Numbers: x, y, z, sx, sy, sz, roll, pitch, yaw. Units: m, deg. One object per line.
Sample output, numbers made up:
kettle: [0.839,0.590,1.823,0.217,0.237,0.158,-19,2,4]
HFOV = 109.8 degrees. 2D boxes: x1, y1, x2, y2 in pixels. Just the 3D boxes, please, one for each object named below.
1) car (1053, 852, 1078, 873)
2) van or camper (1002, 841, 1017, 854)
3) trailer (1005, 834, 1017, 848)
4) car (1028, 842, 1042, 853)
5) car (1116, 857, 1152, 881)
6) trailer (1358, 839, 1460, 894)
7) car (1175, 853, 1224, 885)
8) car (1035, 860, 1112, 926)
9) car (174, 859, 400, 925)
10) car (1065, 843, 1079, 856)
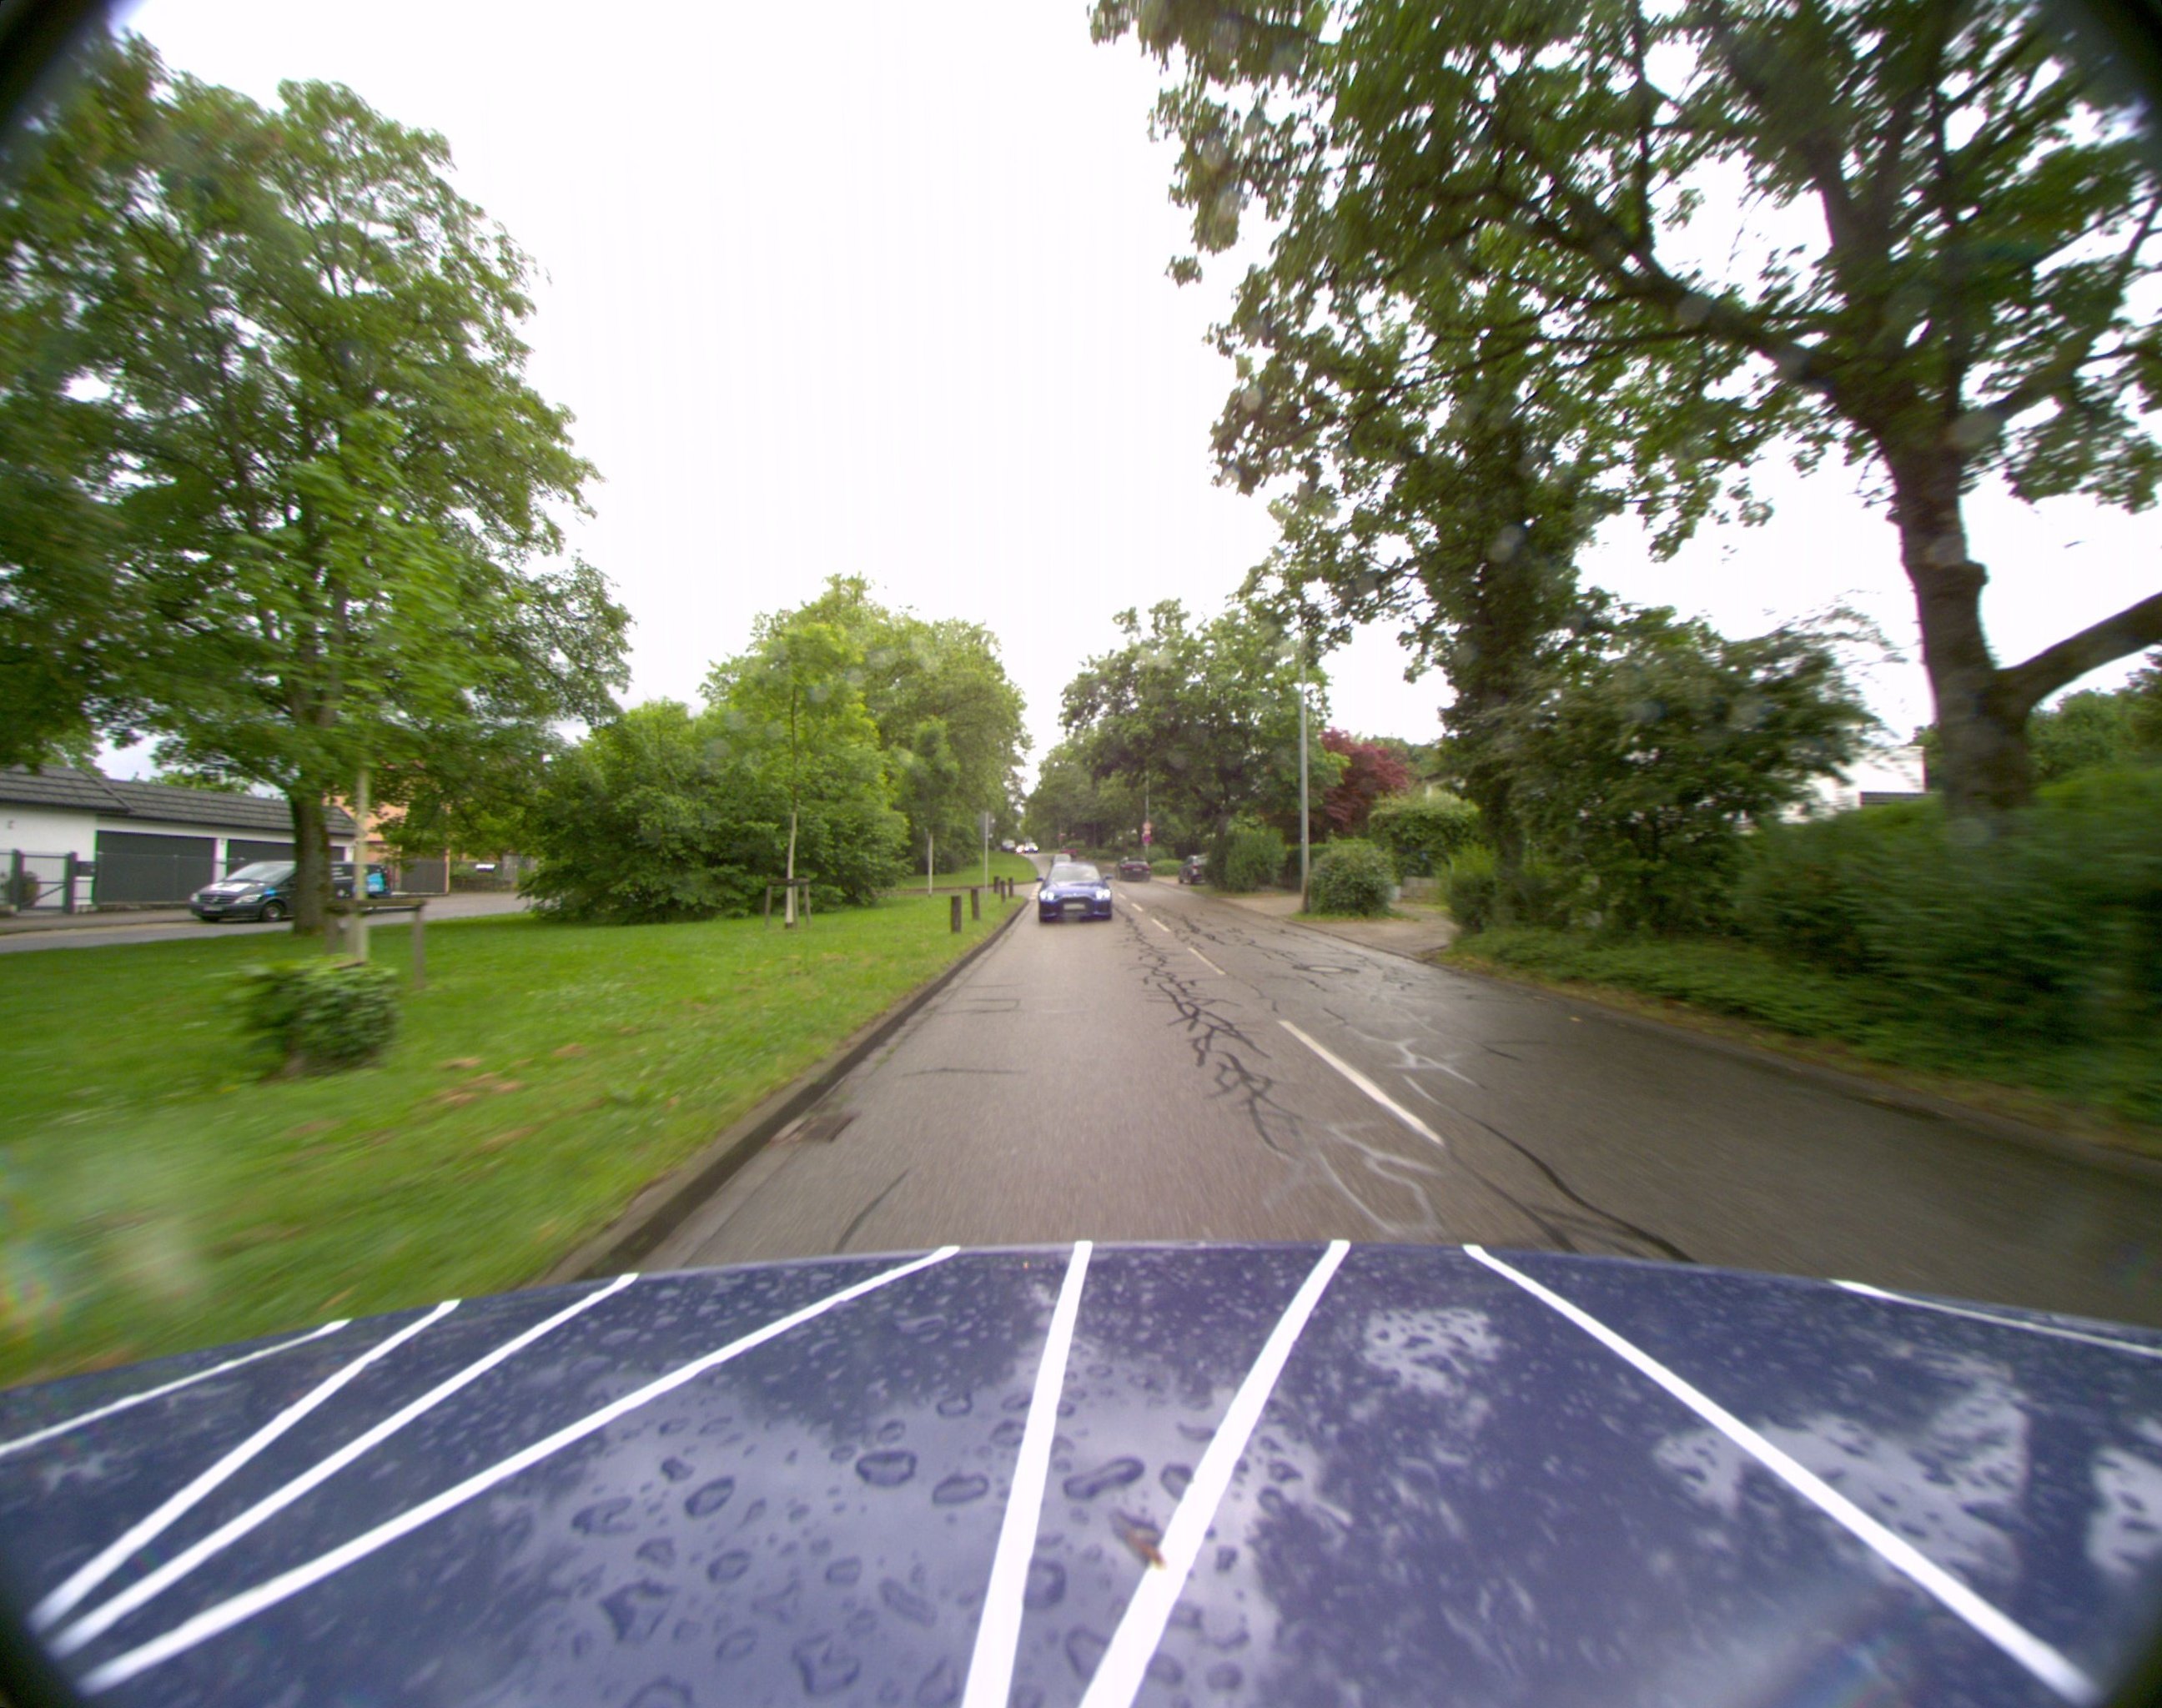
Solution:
car: [-1.181,0.665,57.109,1.796,1.458,4.510,0,-1,-2]
van or camper: [-10.187,-0.952,108.348,2.000,1.858,5.660,1,1,-7]
trailer: [-10.422,-1.971,113.279,1.702,2.042,3.948,0,2,-7]
car: [-6.857,-1.018,113.806,1.678,1.542,3.832,1,0,1]
car: [3.153,0.860,45.850,1.759,1.355,4.324,2,0,-1]
trailer: [12.249,0.462,28.484,3.127,1.788,1.424,4,-1,-6]
car: [6.388,0.790,41.277,1.668,1.533,4.282,-3,1,-4]
car: [-0.100,0.963,20.577,1.796,1.459,4.510,-2,0,2]
car: [-25.464,1.128,24.743,2.165,1.868,5.068,1,0,-2]
car: [-1.136,-0.585,93.555,1.694,1.388,4.488,0,2,-2]
